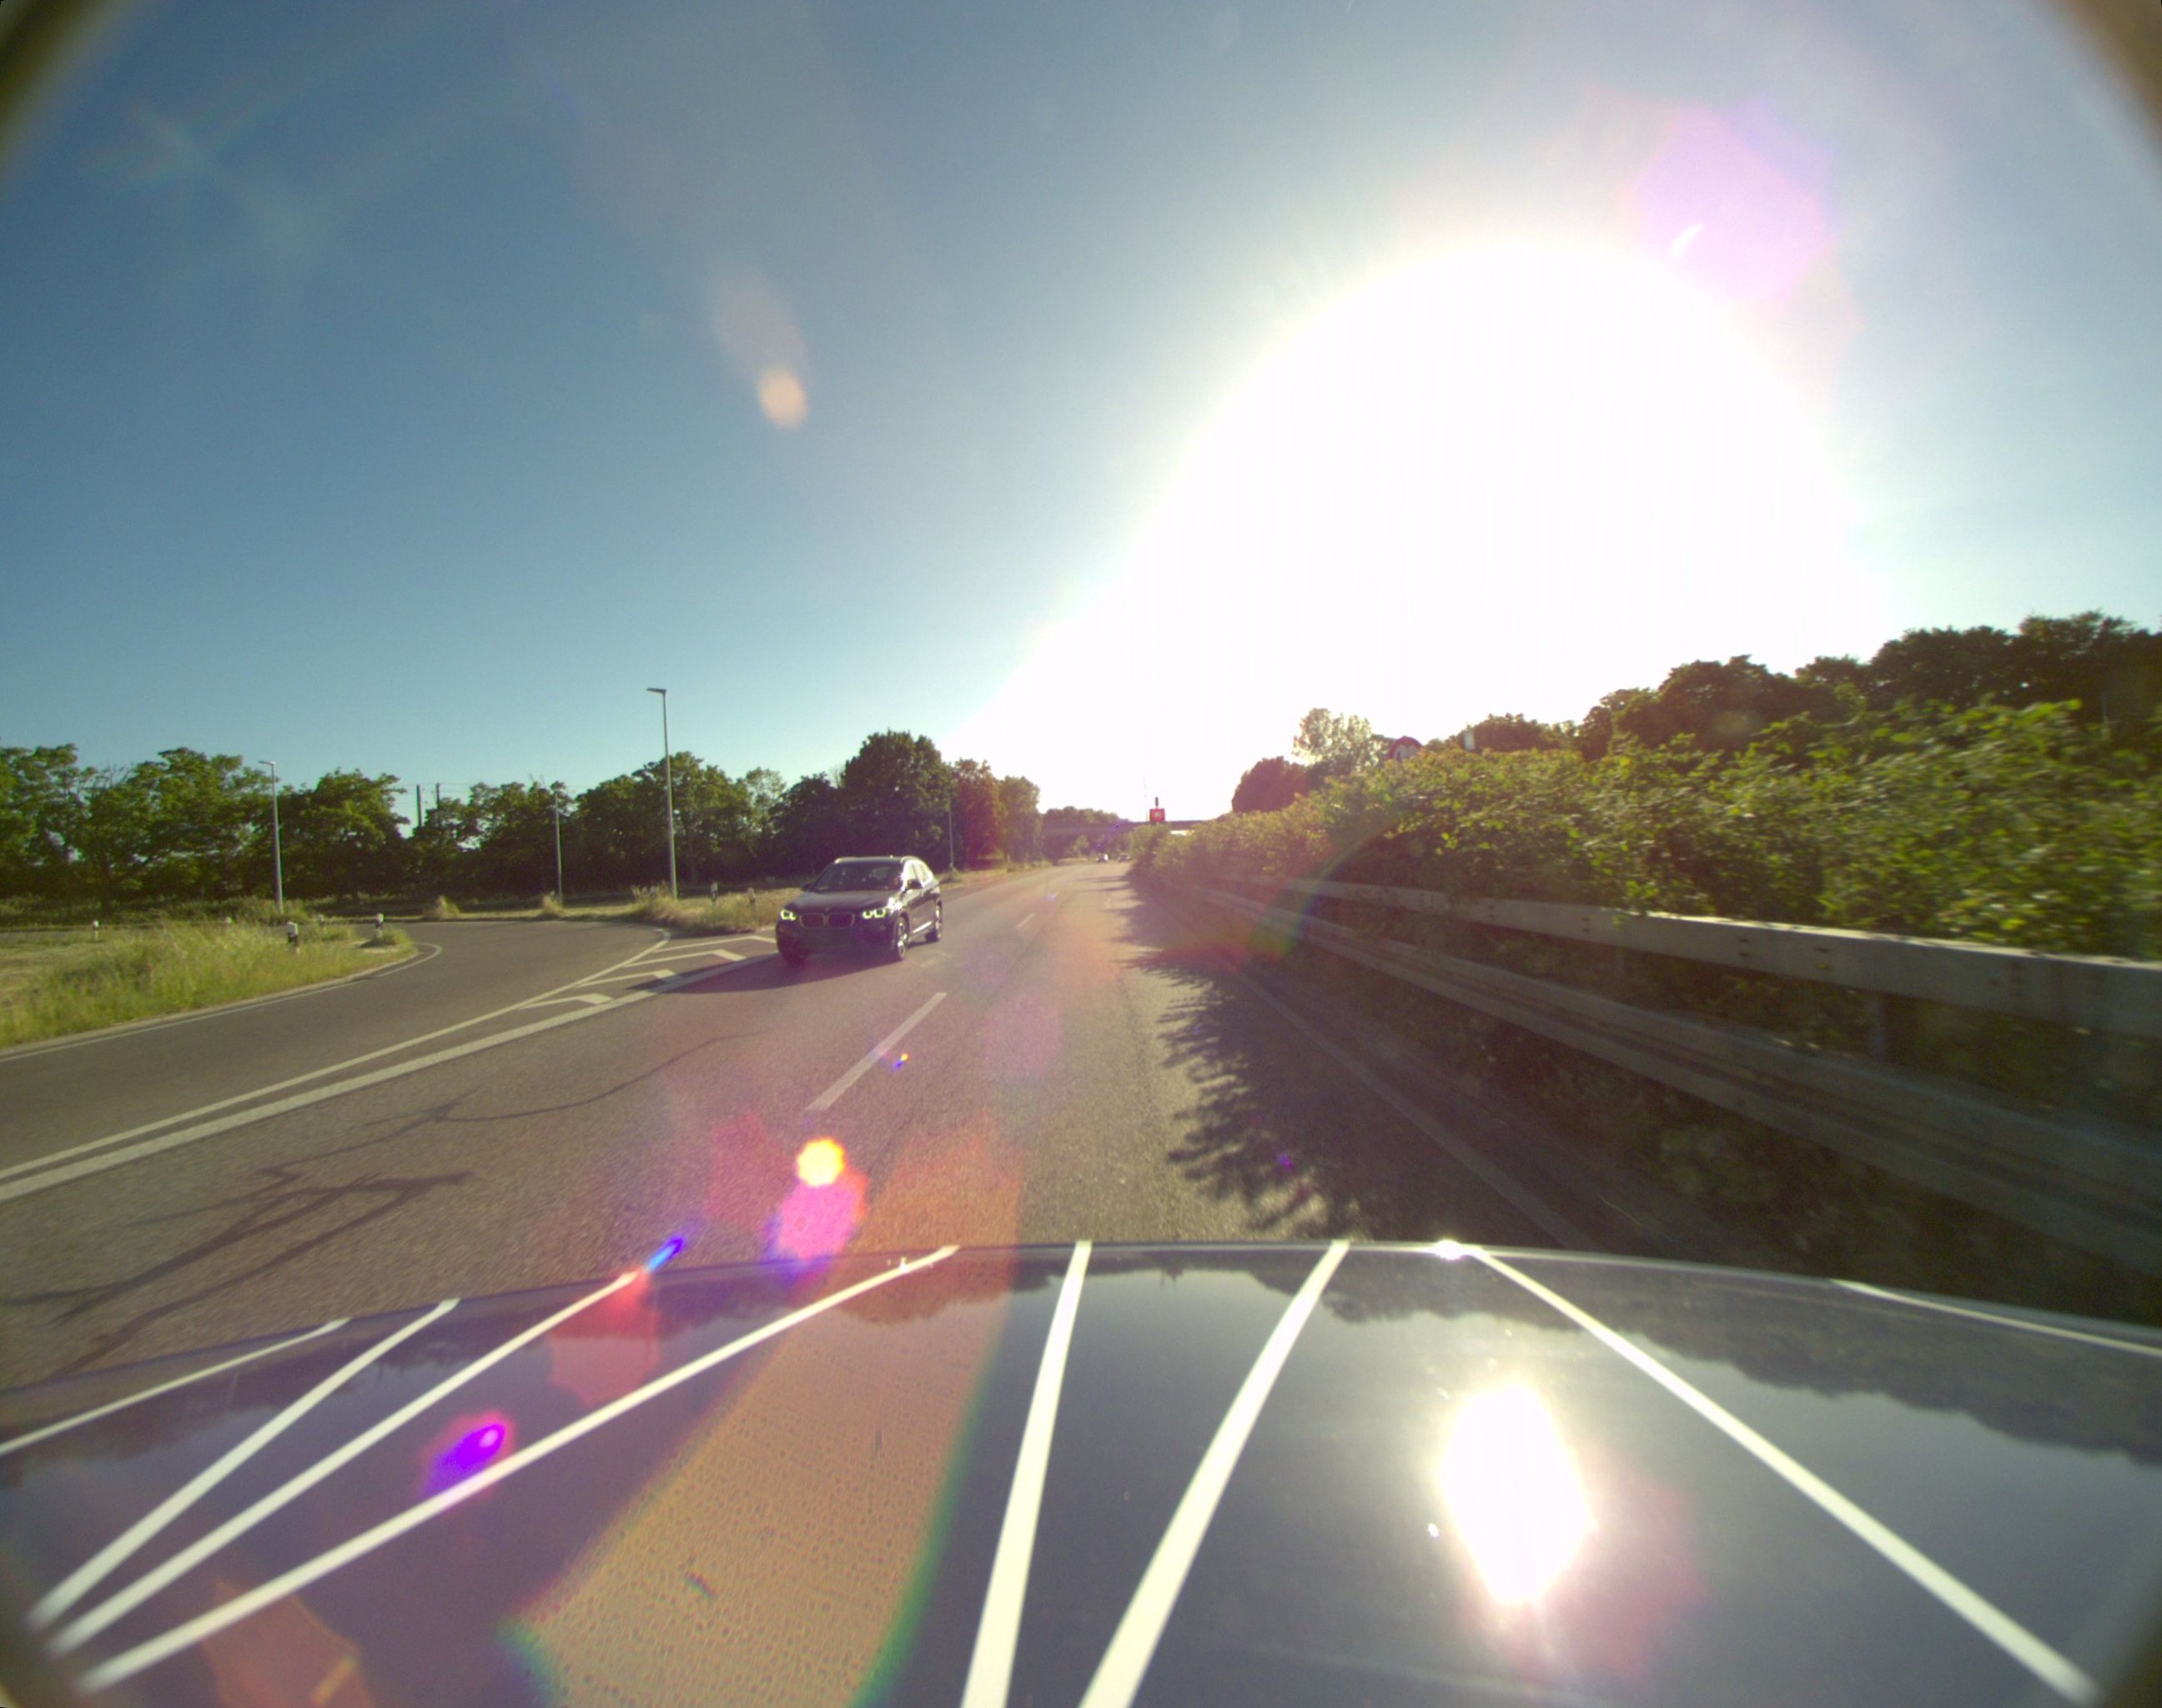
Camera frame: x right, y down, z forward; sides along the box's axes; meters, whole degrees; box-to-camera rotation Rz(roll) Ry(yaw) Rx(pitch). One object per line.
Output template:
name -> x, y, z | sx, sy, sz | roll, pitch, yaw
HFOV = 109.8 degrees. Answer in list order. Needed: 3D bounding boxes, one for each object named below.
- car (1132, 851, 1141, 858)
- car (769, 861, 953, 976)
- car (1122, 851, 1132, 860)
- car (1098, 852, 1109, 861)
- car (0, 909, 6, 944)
car -> 11.912, 0.049, 161.553 | 1.724, 1.412, 3.671 | -3, 0, 6
car -> -3.516, 0.939, 13.079 | 1.759, 1.564, 4.521 | -1, 0, 1
car -> 8.004, 0.293, 132.144 | 1.725, 1.412, 3.670 | -3, 0, 3
car -> 4.048, 0.467, 133.778 | 1.682, 1.412, 3.671 | -3, 0, 5
car -> -53.918, 3.528, 35.435 | 4.003, 1.681, 1.866 | -1, 0, -18
